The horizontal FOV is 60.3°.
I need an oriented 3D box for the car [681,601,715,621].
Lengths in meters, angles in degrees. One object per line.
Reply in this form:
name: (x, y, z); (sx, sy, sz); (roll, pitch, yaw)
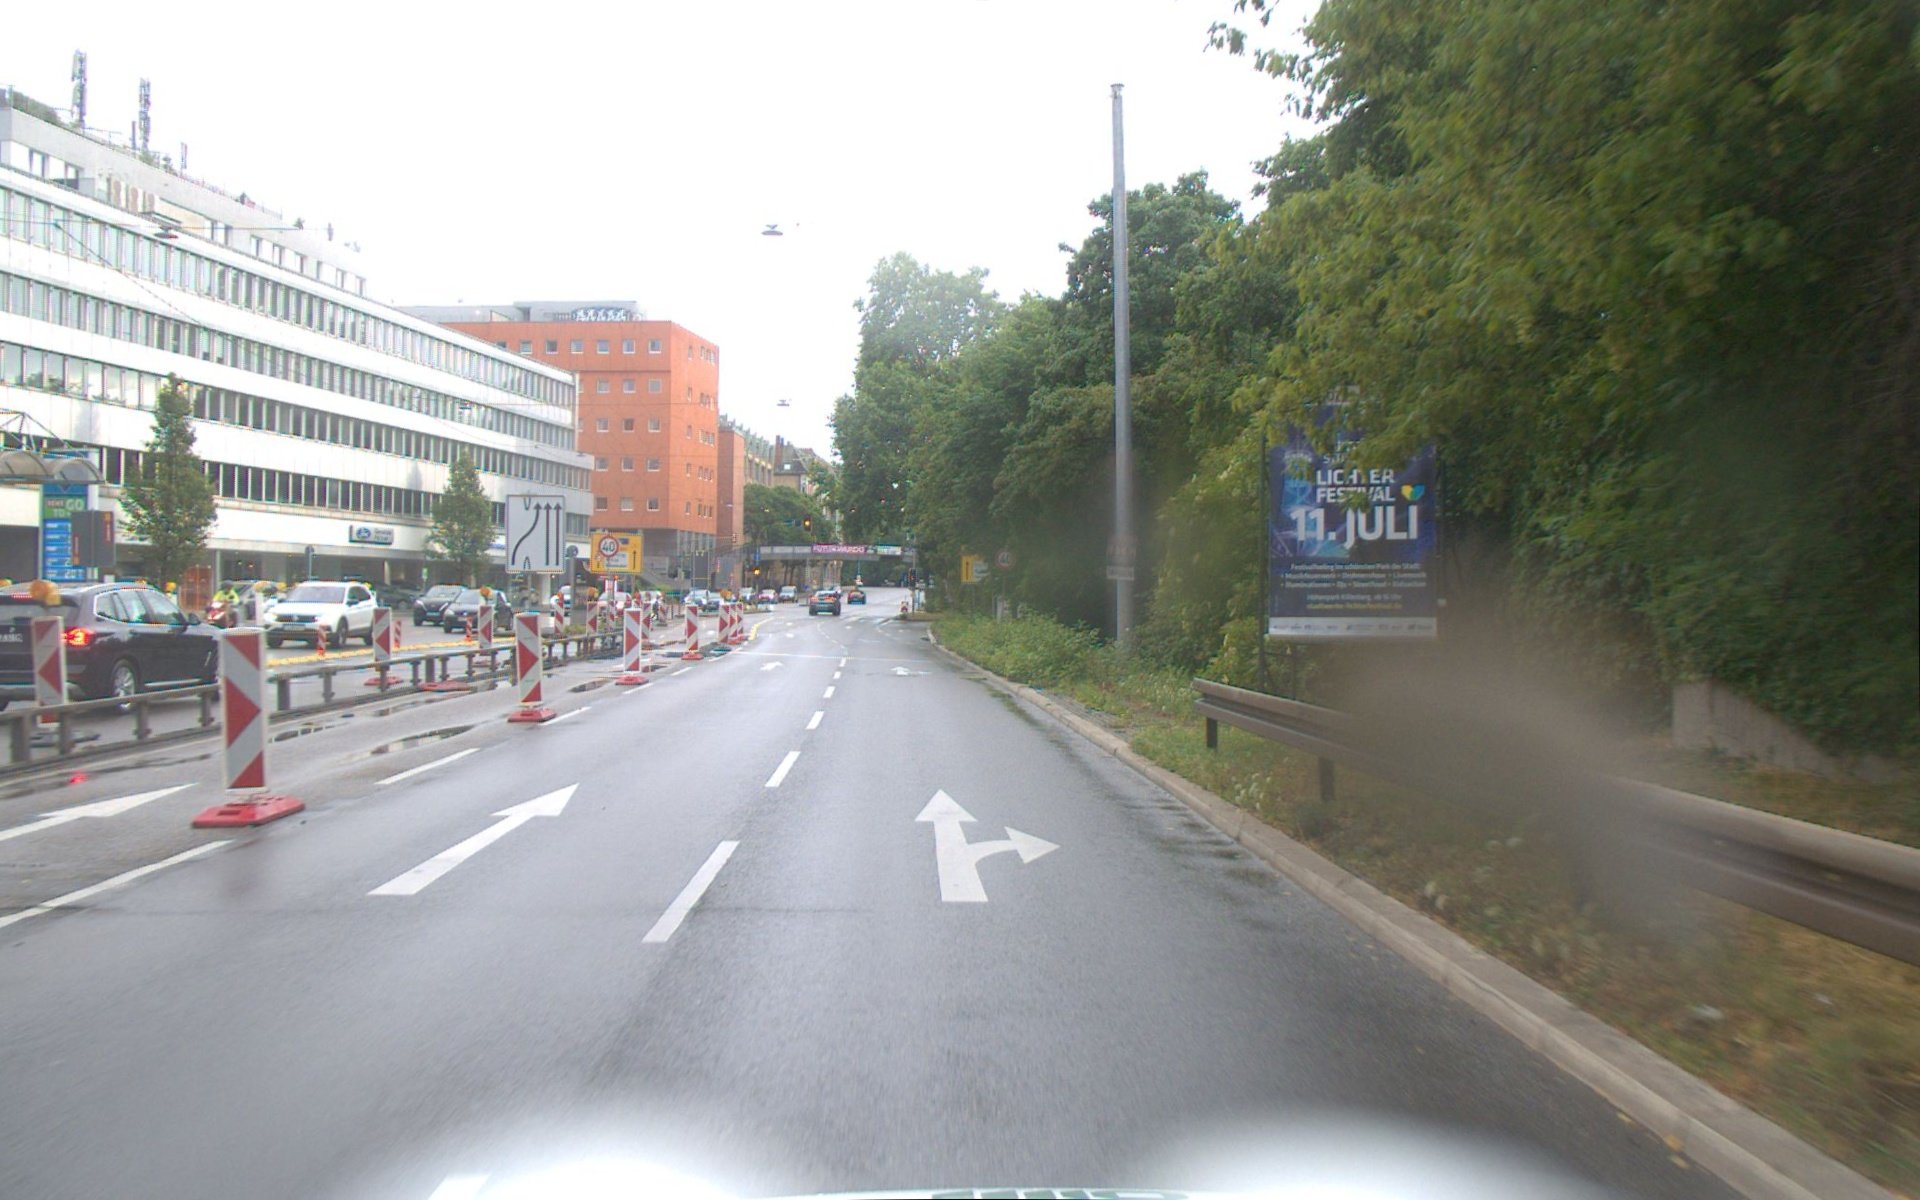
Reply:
car: (-20.996, 0.908, 132.743); (1.770, 1.586, 4.303); (0, 0, 4)

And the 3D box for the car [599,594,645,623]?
car: (-17.366, 0.424, 85.170); (1.701, 1.428, 4.286); (1, 0, -3)

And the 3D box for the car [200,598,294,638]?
car: (-33.249, 0.824, 77.234); (1.809, 1.810, 4.733); (-1, 0, 8)

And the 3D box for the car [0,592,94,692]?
car: (-15.389, 0.644, 25.421); (1.814, 1.492, 4.705); (-1, 0, -2)

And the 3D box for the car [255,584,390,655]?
car: (-16.377, 0.467, 42.761); (1.899, 1.719, 4.578); (0, 0, -3)

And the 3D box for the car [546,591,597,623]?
car: (-21.461, 0.394, 91.495); (1.940, 1.737, 4.828); (0, 0, -3)

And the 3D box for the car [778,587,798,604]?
car: (-19.063, -0.523, 183.757); (1.698, 1.817, 4.301); (-1, 0, 0)

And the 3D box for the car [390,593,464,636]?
car: (-20.309, 0.529, 63.150); (1.676, 1.563, 4.075); (-1, 0, -3)

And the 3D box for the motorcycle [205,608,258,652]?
motorcycle: (-19.446, 0.791, 44.180); (0.567, 1.121, 2.027); (-1, 0, -2)

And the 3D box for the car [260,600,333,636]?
car: (-30.099, 0.803, 75.146); (1.618, 1.562, 3.757); (-1, 0, 3)

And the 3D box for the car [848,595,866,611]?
car: (-11.231, 0.290, 180.776); (1.727, 1.726, 3.705); (-1, 0, -1)

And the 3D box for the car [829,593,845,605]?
car: (-17.160, -0.108, 231.625); (1.953, 1.545, 4.000); (1, 0, 0)

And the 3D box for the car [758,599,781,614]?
car: (-19.483, 0.650, 169.245); (1.792, 1.528, 4.373); (-1, 0, 1)

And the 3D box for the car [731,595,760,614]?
car: (-20.173, 0.446, 155.755); (1.807, 1.768, 4.606); (0, 0, 3)

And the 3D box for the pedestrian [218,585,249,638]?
pedestrian: (-19.458, 0.300, 44.282); (0.576, 1.387, 0.561); (-1, 0, -3)

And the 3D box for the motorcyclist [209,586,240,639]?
motorcyclist: (-19.425, 0.314, 43.691); (0.576, 1.387, 0.561); (-1, 0, -3)

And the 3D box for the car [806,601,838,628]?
car: (-9.982, 1.059, 120.198); (2.078, 1.765, 4.196); (3, 1, -3)

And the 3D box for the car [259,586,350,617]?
car: (-36.029, 0.082, 90.969); (4.339, 1.681, 1.830); (0, 0, -37)

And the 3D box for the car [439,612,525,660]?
car: (-16.565, 1.229, 57.526); (1.920, 1.547, 4.298); (0, 0, -3)

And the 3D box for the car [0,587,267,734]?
car: (-11.303, 0.704, 22.103); (1.907, 1.625, 4.672); (3, 1, 2)

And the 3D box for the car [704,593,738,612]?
car: (-17.516, 0.175, 121.187); (1.653, 1.378, 4.116); (-1, 0, 4)
